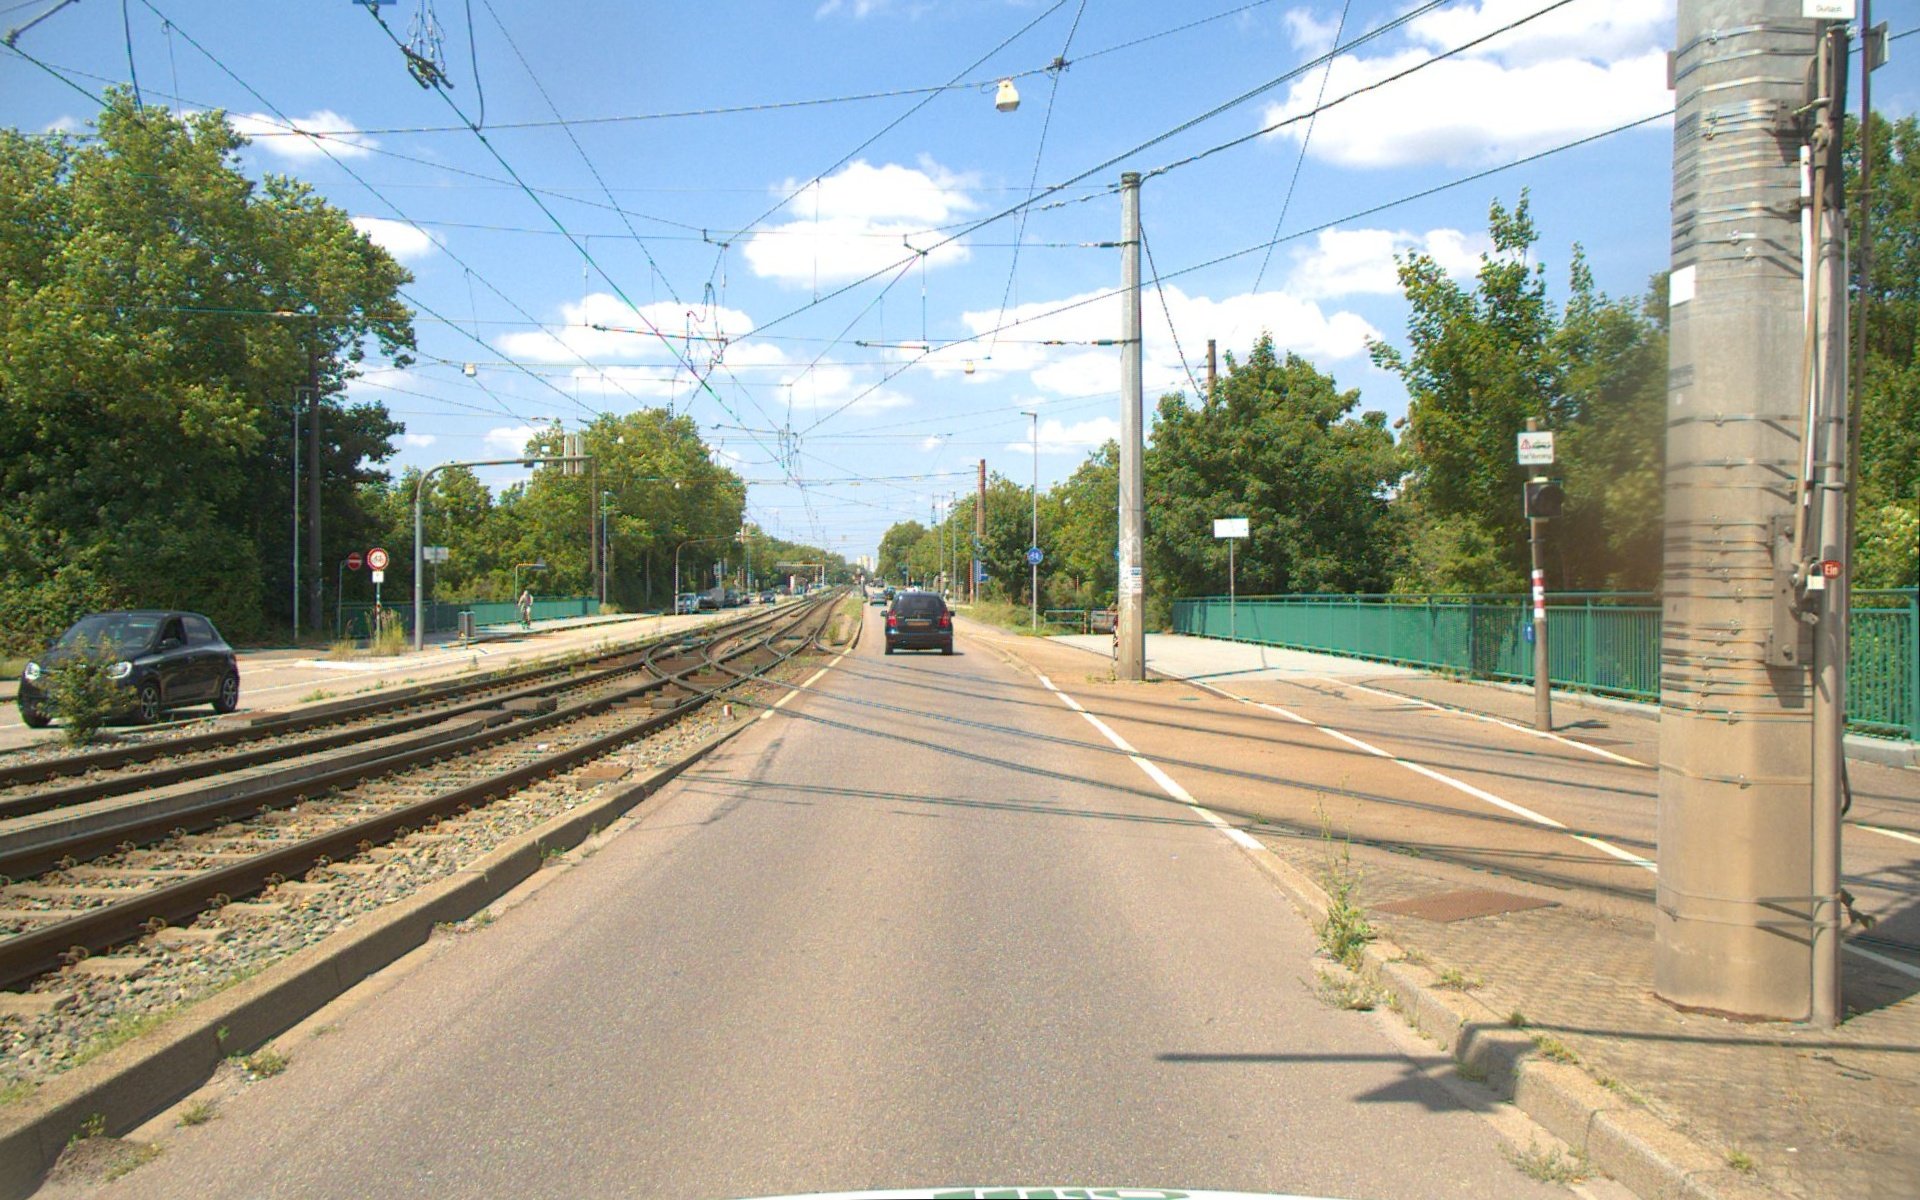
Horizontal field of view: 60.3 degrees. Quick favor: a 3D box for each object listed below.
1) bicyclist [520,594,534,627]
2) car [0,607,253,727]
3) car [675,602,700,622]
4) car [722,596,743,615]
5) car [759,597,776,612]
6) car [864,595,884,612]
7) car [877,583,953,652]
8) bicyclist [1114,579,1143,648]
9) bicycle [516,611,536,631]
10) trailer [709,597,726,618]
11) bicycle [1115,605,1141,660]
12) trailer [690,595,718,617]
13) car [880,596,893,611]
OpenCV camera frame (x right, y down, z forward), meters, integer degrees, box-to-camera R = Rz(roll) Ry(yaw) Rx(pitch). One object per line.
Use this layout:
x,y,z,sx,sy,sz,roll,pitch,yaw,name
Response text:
-19.747,0.496,75.460,0.447,1.500,0.633,0,-1,-1,bicyclist
-11.633,0.921,23.318,1.670,1.537,3.733,0,-2,1,car
-22.342,0.989,135.699,1.686,1.659,4.611,0,0,-5,car
-25.387,0.662,184.864,1.953,2.049,3.998,0,-1,-2,car
-23.472,0.590,201.676,1.838,1.750,5.326,0,-1,-4,car
-9.413,0.388,181.195,1.846,1.668,4.000,4,0,1,car
-1.118,0.416,43.110,1.815,1.597,4.388,1,1,0,car
3.789,0.299,37.253,0.573,1.521,0.558,1,1,1,bicyclist
-19.764,0.952,75.308,0.459,0.883,1.742,0,-1,-1,bicycle
-25.171,0.782,171.541,1.579,2.049,3.910,1,0,-6,trailer
3.780,0.720,37.297,0.423,1.172,1.855,1,1,1,bicycle
-23.374,0.567,151.193,2.415,1.922,5.951,1,0,-8,trailer
-10.450,0.530,235.906,1.751,2.048,3.998,1,1,-3,car
